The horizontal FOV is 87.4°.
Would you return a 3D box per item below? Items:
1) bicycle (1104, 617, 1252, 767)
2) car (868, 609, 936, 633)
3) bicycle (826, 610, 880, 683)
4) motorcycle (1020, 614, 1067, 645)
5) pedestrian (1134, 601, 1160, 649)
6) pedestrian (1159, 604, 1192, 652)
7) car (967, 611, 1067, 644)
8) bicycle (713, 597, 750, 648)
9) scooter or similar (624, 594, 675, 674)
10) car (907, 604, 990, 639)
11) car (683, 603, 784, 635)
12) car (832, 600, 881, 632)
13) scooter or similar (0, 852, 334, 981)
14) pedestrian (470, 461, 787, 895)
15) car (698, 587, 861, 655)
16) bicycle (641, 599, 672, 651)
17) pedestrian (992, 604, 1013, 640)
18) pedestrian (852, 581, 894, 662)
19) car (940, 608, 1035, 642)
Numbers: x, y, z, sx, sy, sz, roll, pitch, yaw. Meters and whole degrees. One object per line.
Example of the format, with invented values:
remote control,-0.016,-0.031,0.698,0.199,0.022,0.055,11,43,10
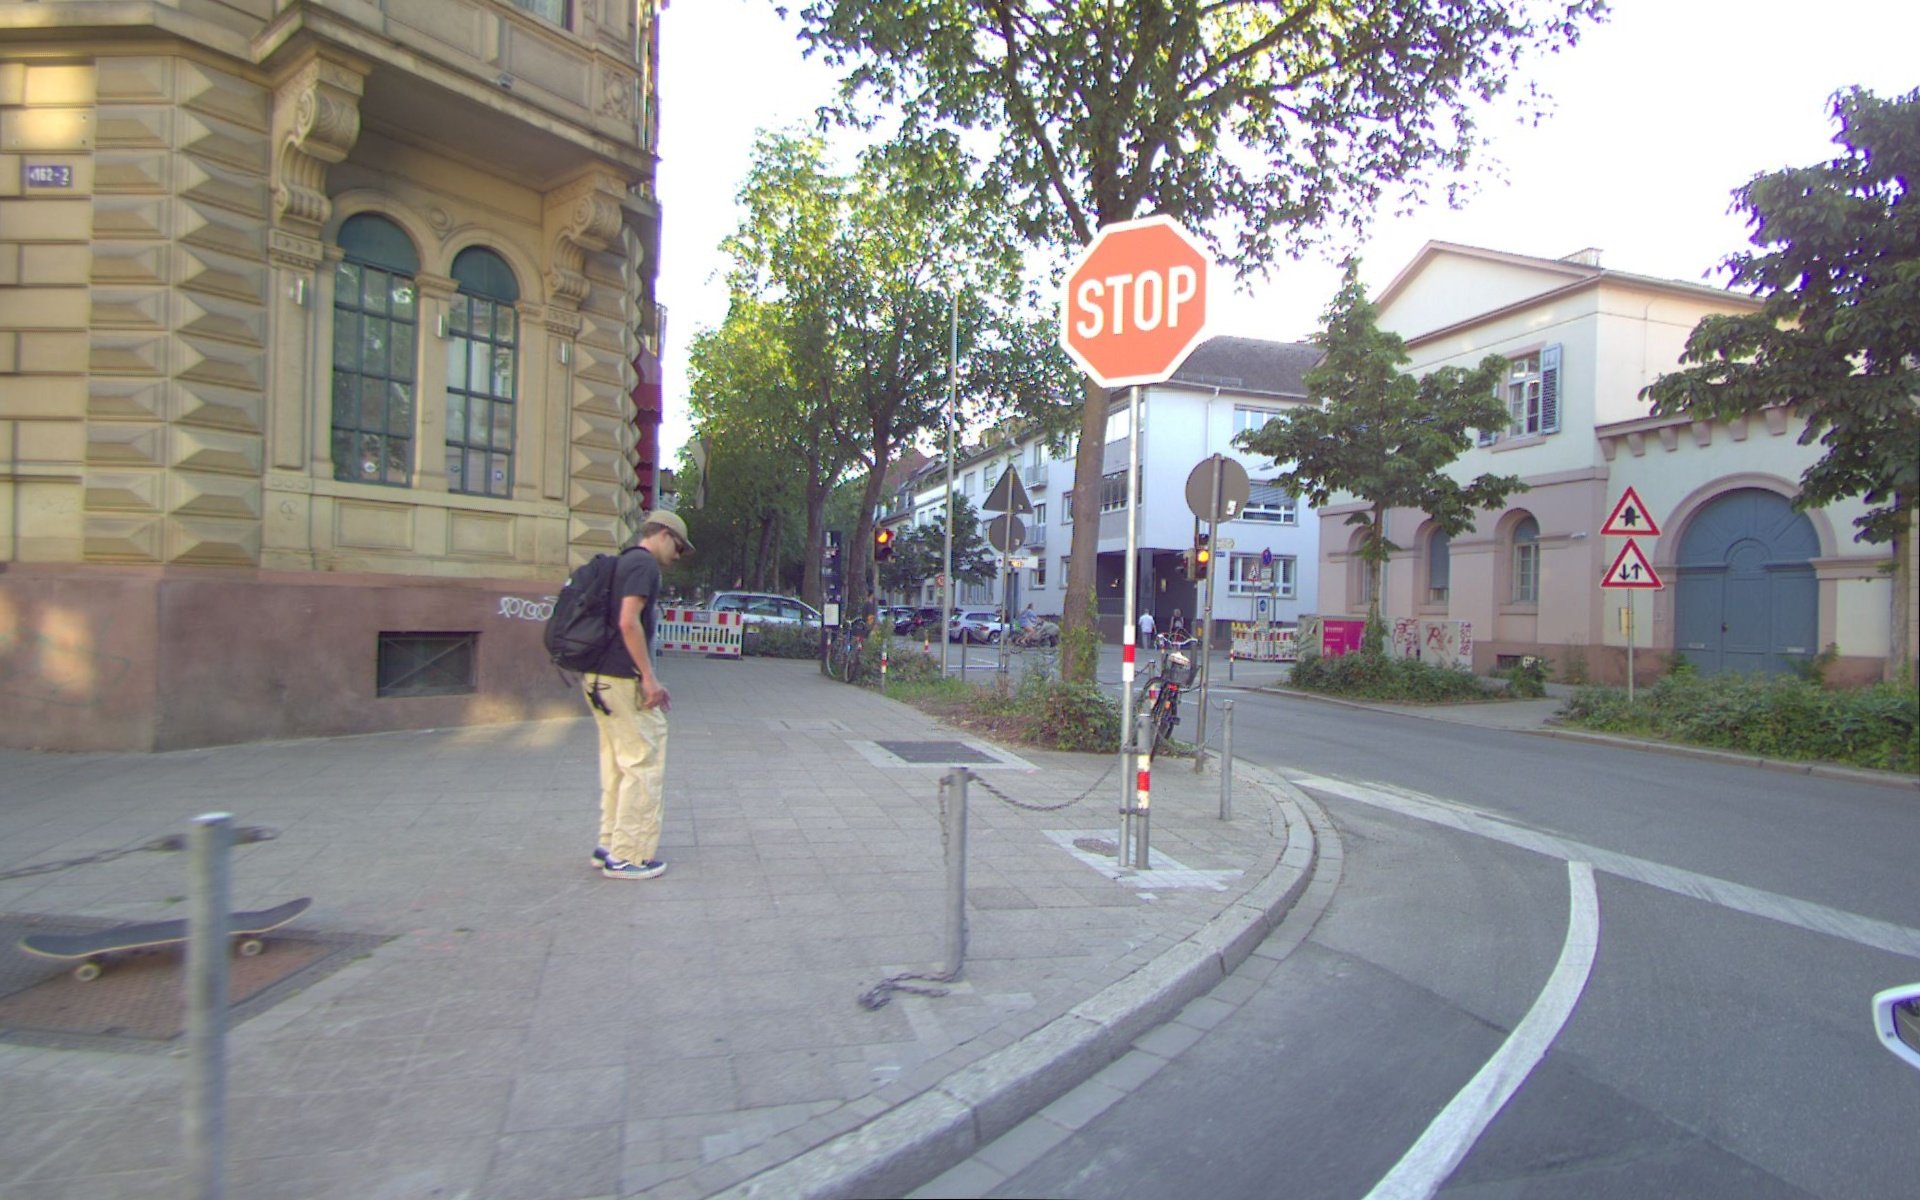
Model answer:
bicycle,2.116,0.837,10.165,0.829,1.284,2.572,1,0,-2
car,-3.656,1.300,62.773,3.963,1.428,1.700,1,0,-17
bicycle,-1.916,0.780,17.709,0.504,1.168,2.093,3,-1,-17
motorcycle,3.372,1.178,40.413,1.772,1.215,0.612,1,0,-8
pedestrian,7.158,0.955,38.507,0.694,1.775,0.698,2,0,-13
pedestrian,8.182,1.055,38.123,0.917,1.775,0.769,2,0,-12
car,2.464,1.188,43.404,3.962,1.360,1.701,1,0,-17
bicycle,-5.914,0.557,25.915,0.725,1.202,2.625,3,-1,-16
scooter or similar,-4.832,0.520,15.683,0.431,1.183,1.286,3,-1,-5
car,-0.585,1.107,51.870,3.963,1.713,1.700,1,0,-17
car,-10.552,0.873,46.714,4.489,1.390,1.827,1,0,-17
car,-5.565,0.838,53.572,1.802,1.582,4.012,3,-1,-18
scooter or similar,-2.684,1.067,3.468,0.872,0.210,0.415,2,1,-31
pedestrian,-1.580,0.329,4.740,1.251,1.762,0.845,2,1,-27
car,-5.354,0.627,29.715,4.493,1.859,1.825,2,0,-20
bicycle,-7.506,0.597,24.889,0.628,1.218,2.555,1,0,-15
pedestrian,2.231,1.153,52.930,0.757,1.865,0.940,2,0,-16
pedestrian,-2.048,0.498,23.571,0.875,1.839,0.792,1,0,-12
car,1.247,1.151,45.791,3.963,1.461,1.700,1,0,-17
